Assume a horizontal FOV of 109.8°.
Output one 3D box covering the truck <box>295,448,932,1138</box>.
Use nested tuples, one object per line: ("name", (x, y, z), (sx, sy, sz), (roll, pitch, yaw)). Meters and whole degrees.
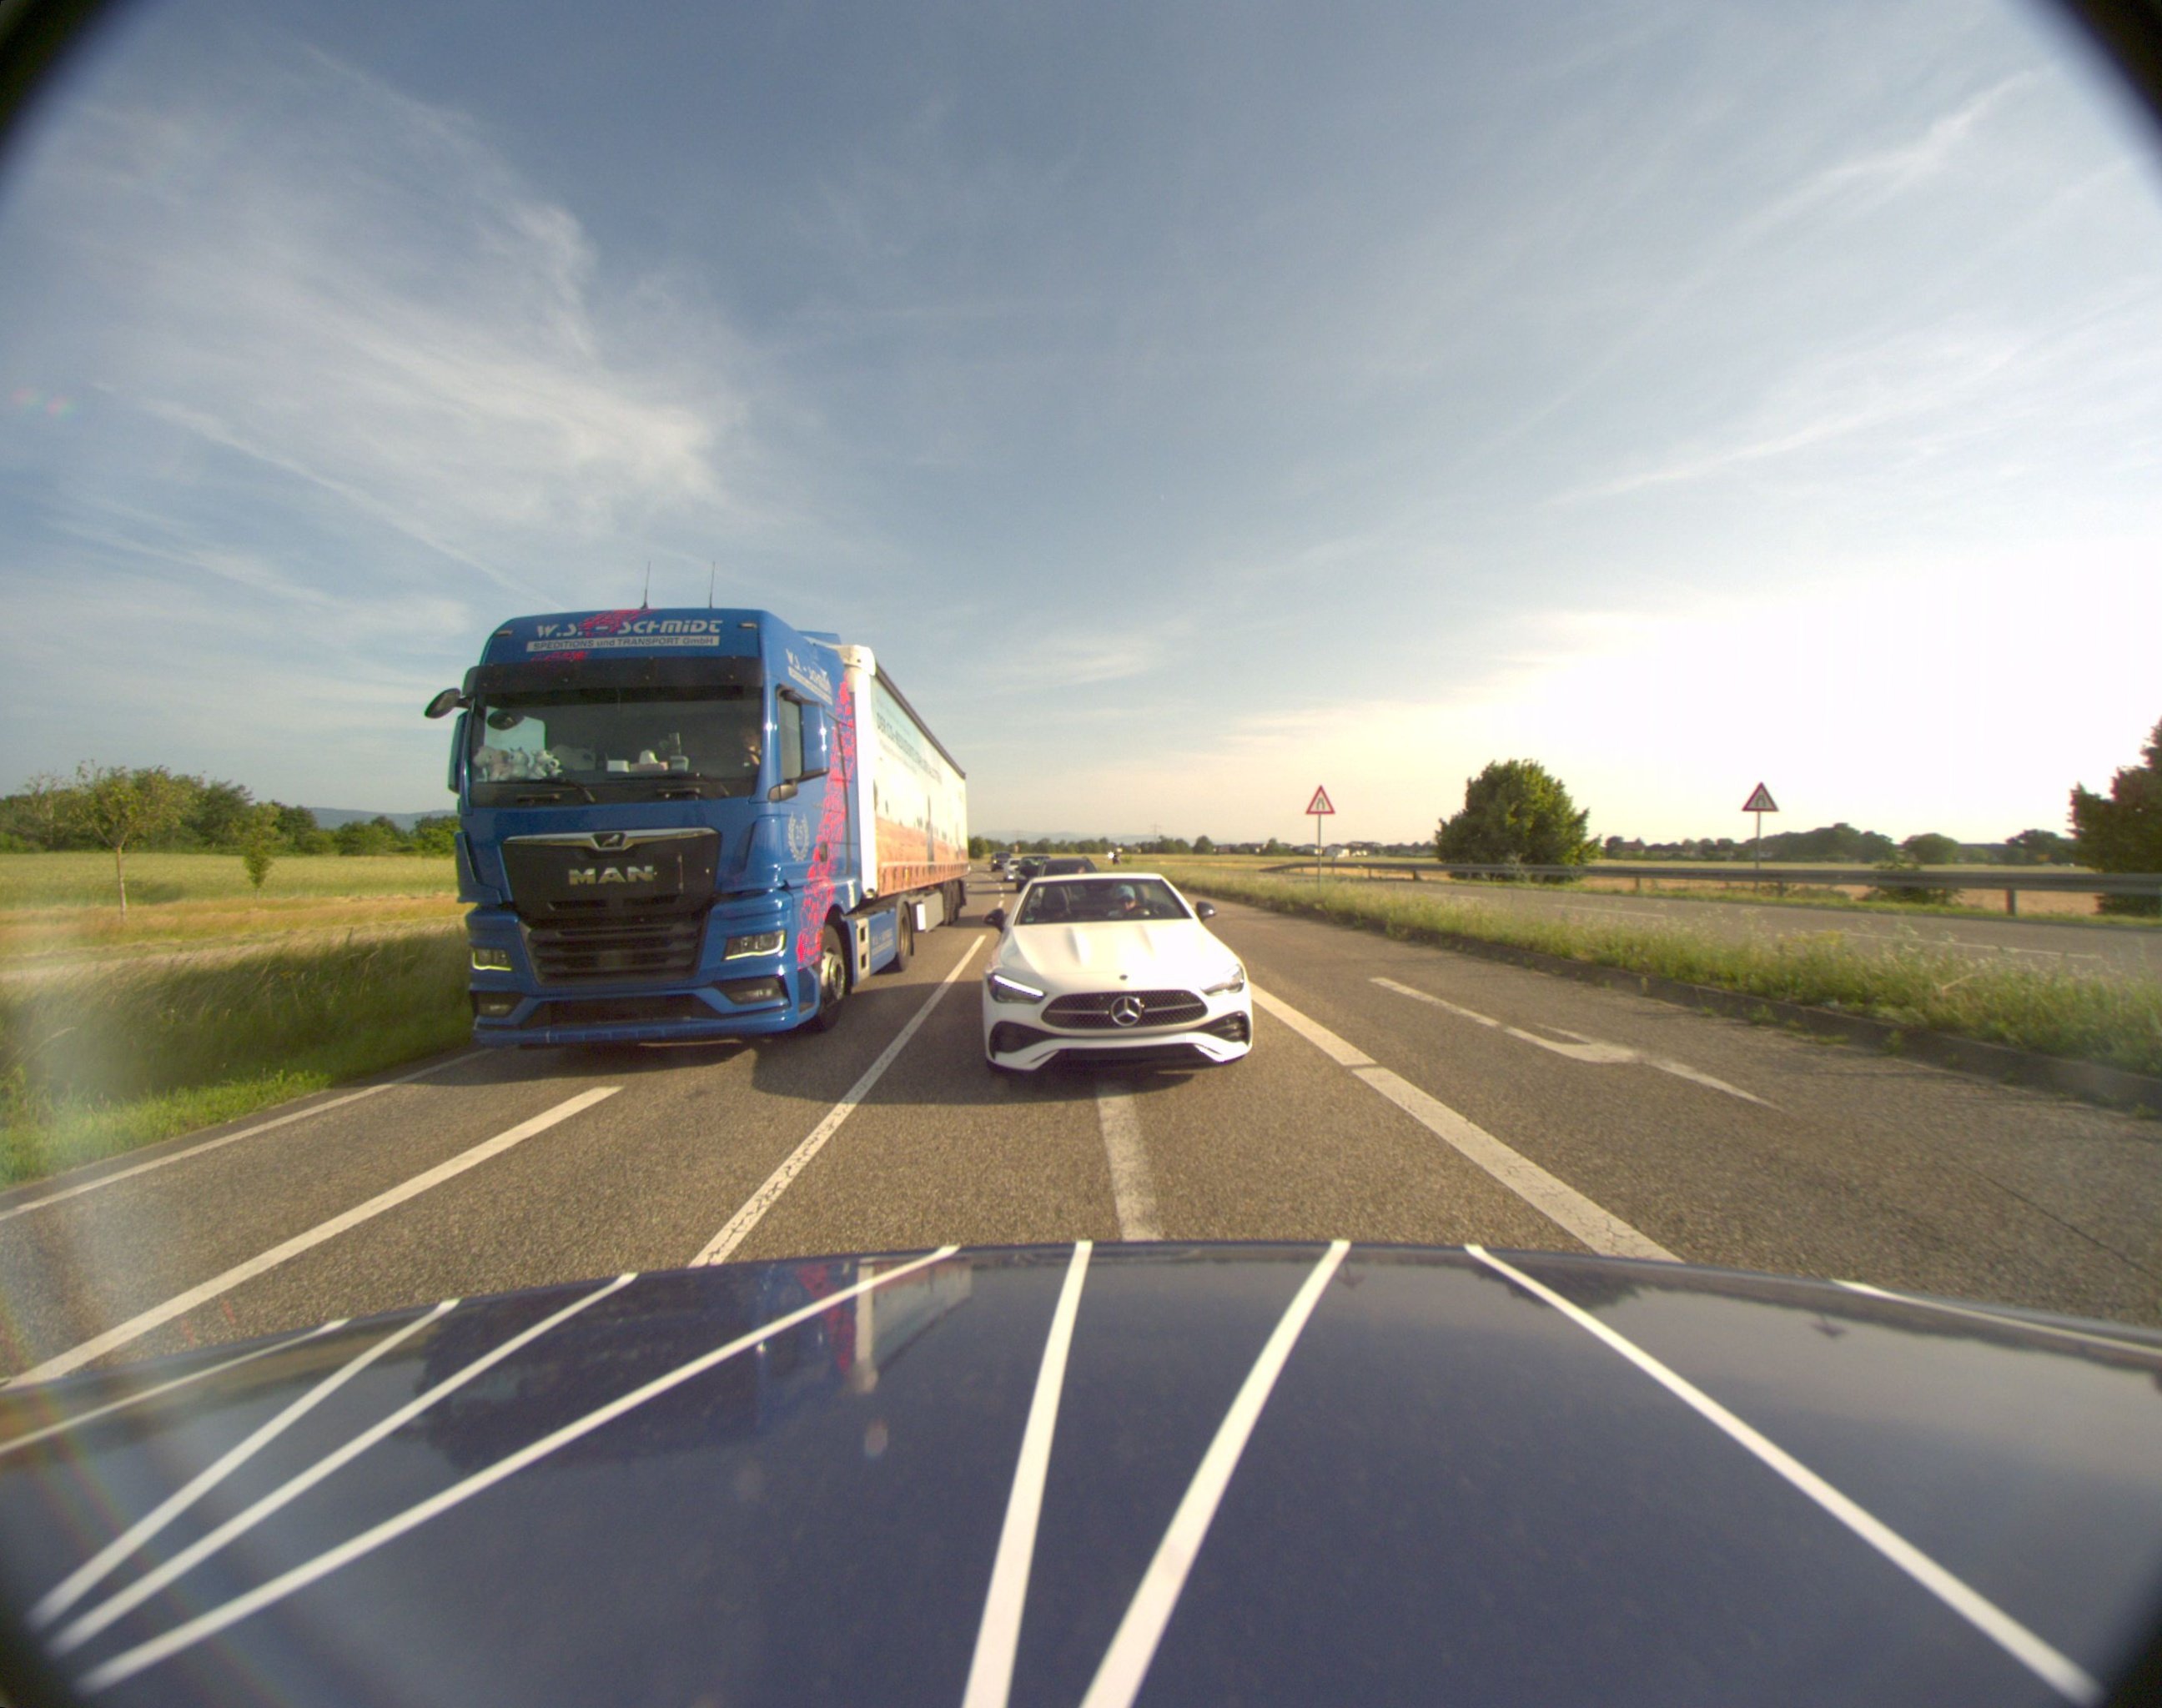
("truck", (-3.706, -0.464, 8.082), (3.309, 4.631, 5.729), (-2, 1, -4))

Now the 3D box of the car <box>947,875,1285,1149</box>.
("car", (0.156, 0.979, 6.409), (1.941, 1.389, 3.917), (-2, 1, -2))

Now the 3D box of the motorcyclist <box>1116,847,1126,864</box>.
("motorcyclist", (4.071, 0.172, 77.446), (0.906, 1.748, 0.831), (-2, 1, -6))

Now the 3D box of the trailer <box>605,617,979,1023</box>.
("trailer", (-4.209, -0.511, 15.443), (3.291, 4.654, 13.139), (-2, 1, -4))

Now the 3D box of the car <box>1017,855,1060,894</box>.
("car", (-1.884, 0.851, 32.872), (1.558, 1.550, 3.046), (-1, 0, -8))

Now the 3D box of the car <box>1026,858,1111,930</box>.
("car", (-0.400, 0.873, 18.316), (1.586, 1.496, 3.658), (-1, 0, -8))

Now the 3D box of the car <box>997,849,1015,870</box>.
("car", (-7.199, 0.473, 72.743), (1.558, 1.909, 4.032), (-1, 0, -8))

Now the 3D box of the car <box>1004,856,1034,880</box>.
("car", (-3.795, 0.819, 46.078), (1.558, 1.392, 4.032), (-1, 0, -8))

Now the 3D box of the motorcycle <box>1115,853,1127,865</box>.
("motorcycle", (4.081, 0.508, 77.396), (0.940, 1.118, 2.169), (-2, 0, -5))

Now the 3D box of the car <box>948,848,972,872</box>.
("car", (-10.538, 0.506, 66.341), (2.000, 2.002, 3.997), (-1, 0, -8))
